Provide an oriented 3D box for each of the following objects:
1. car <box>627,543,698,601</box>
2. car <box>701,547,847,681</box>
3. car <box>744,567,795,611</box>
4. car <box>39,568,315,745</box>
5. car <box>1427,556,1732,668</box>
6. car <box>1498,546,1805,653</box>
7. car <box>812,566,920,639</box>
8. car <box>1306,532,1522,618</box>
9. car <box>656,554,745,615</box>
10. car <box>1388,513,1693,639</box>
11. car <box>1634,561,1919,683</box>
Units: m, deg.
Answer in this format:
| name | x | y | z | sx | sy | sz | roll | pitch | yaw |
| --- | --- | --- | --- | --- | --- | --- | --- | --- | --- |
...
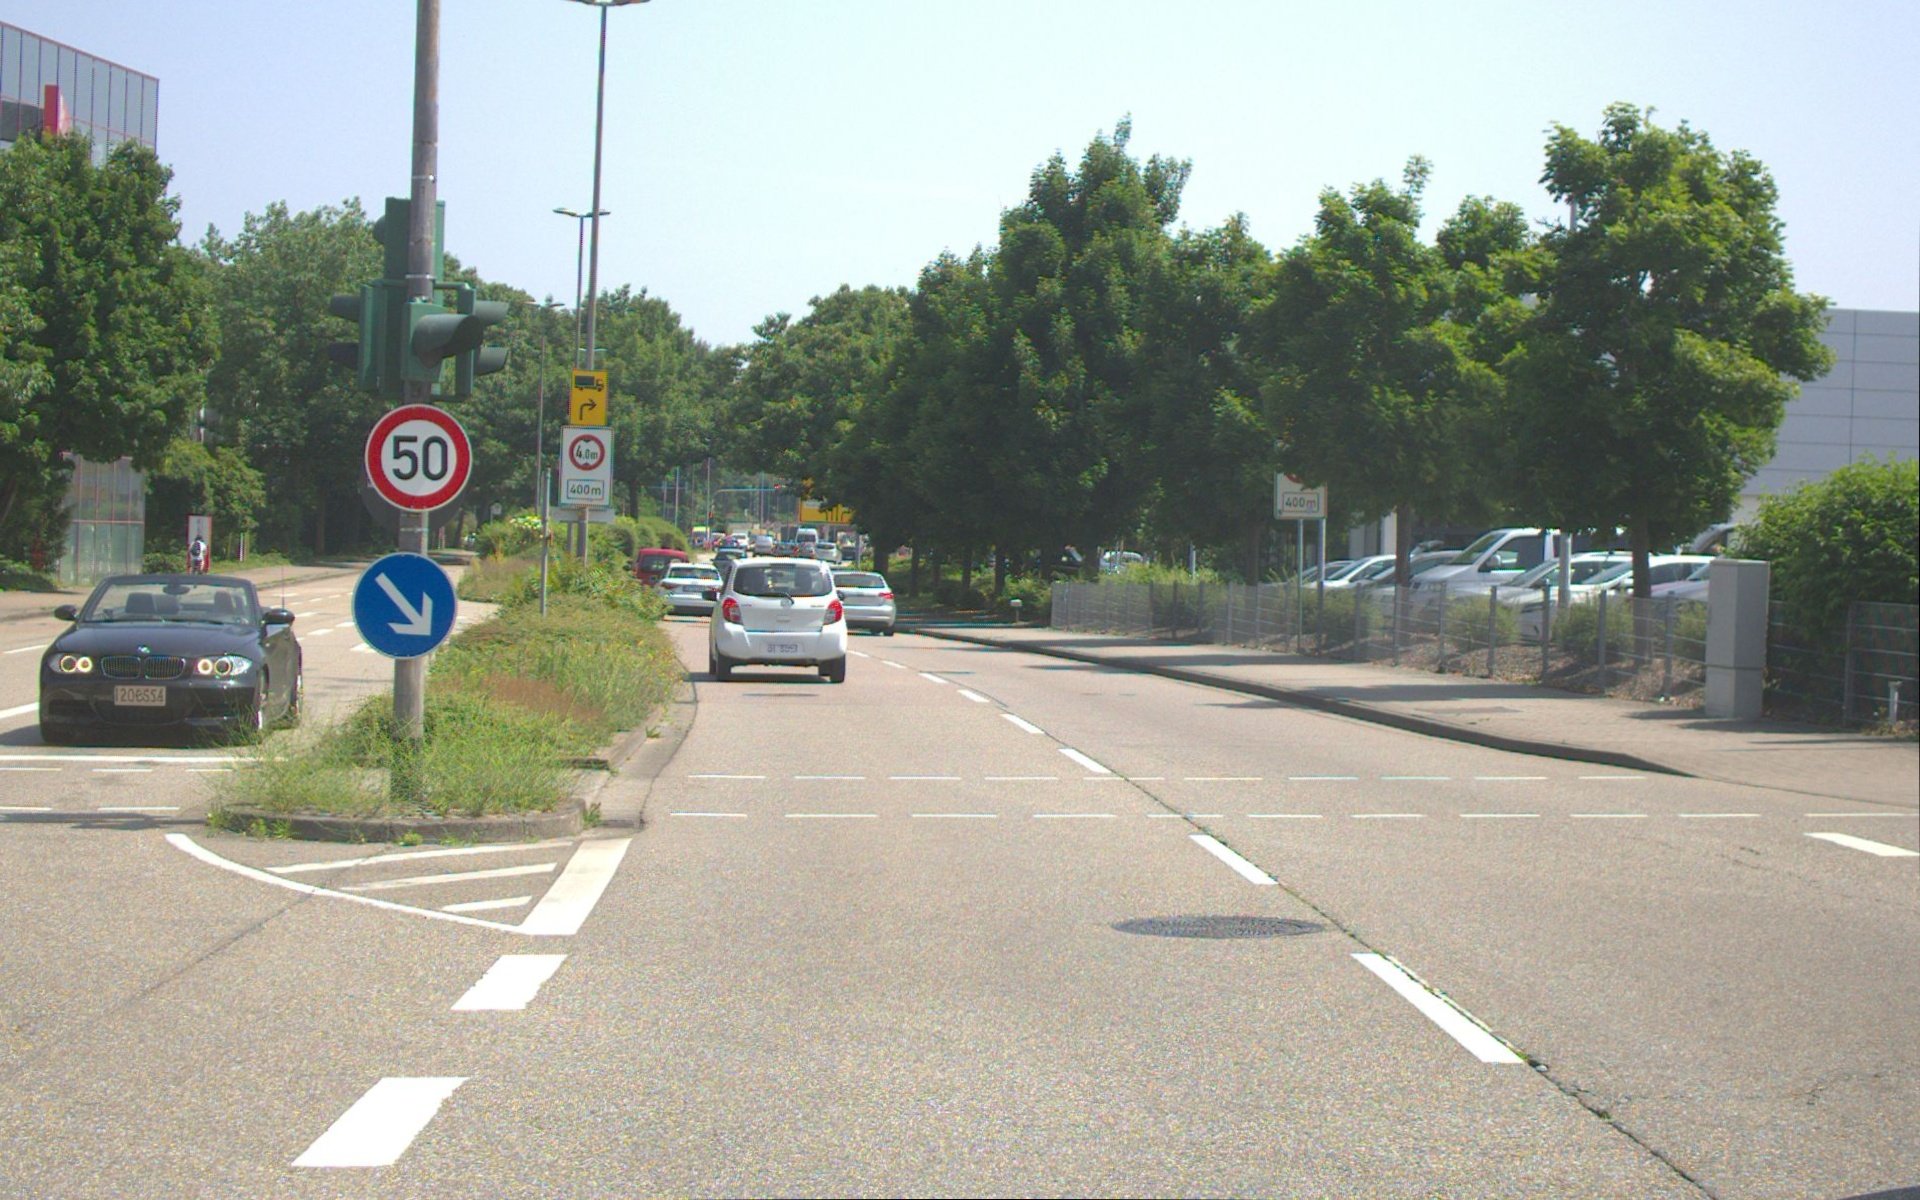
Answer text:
| name | x | y | z | sx | sy | sz | roll | pitch | yaw |
| --- | --- | --- | --- | --- | --- | --- | --- | --- | --- |
| car | -8.509 | -0.825 | 98.209 | 1.884 | 1.603 | 4.001 | 0 | 1 | -7 |
| car | -2.380 | 0.151 | 43.337 | 1.638 | 1.547 | 3.326 | 3 | 0 | -5 |
| car | -6.158 | -0.361 | 111.044 | 1.441 | 1.343 | 3.461 | 1 | 1 | -6 |
| car | -6.364 | 0.415 | 28.309 | 1.729 | 1.319 | 4.150 | 1 | 1 | -6 |
| car | 9.714 | 0.174 | 54.122 | 4.366 | 1.587 | 1.827 | 2 | 1 | -3 |
| car | 9.991 | -0.017 | 49.809 | 3.995 | 1.416 | 1.698 | 2 | 1 | -5 |
| car | -2.129 | 0.027 | 76.561 | 1.865 | 1.468 | 4.001 | 3 | 0 | -8 |
| car | 9.293 | -0.515 | 70.559 | 3.986 | 1.590 | 1.827 | 2 | 0 | -9 |
| car | -6.330 | -0.394 | 83.504 | 1.884 | 1.349 | 4.001 | 3 | 0 | -7 |
| car | 9.611 | -0.400 | 57.096 | 4.616 | 1.918 | 1.827 | 2 | 1 | -5 |
| car | 10.828 | 0.283 | 43.525 | 4.169 | 1.416 | 1.698 | 2 | 1 | -3 |
